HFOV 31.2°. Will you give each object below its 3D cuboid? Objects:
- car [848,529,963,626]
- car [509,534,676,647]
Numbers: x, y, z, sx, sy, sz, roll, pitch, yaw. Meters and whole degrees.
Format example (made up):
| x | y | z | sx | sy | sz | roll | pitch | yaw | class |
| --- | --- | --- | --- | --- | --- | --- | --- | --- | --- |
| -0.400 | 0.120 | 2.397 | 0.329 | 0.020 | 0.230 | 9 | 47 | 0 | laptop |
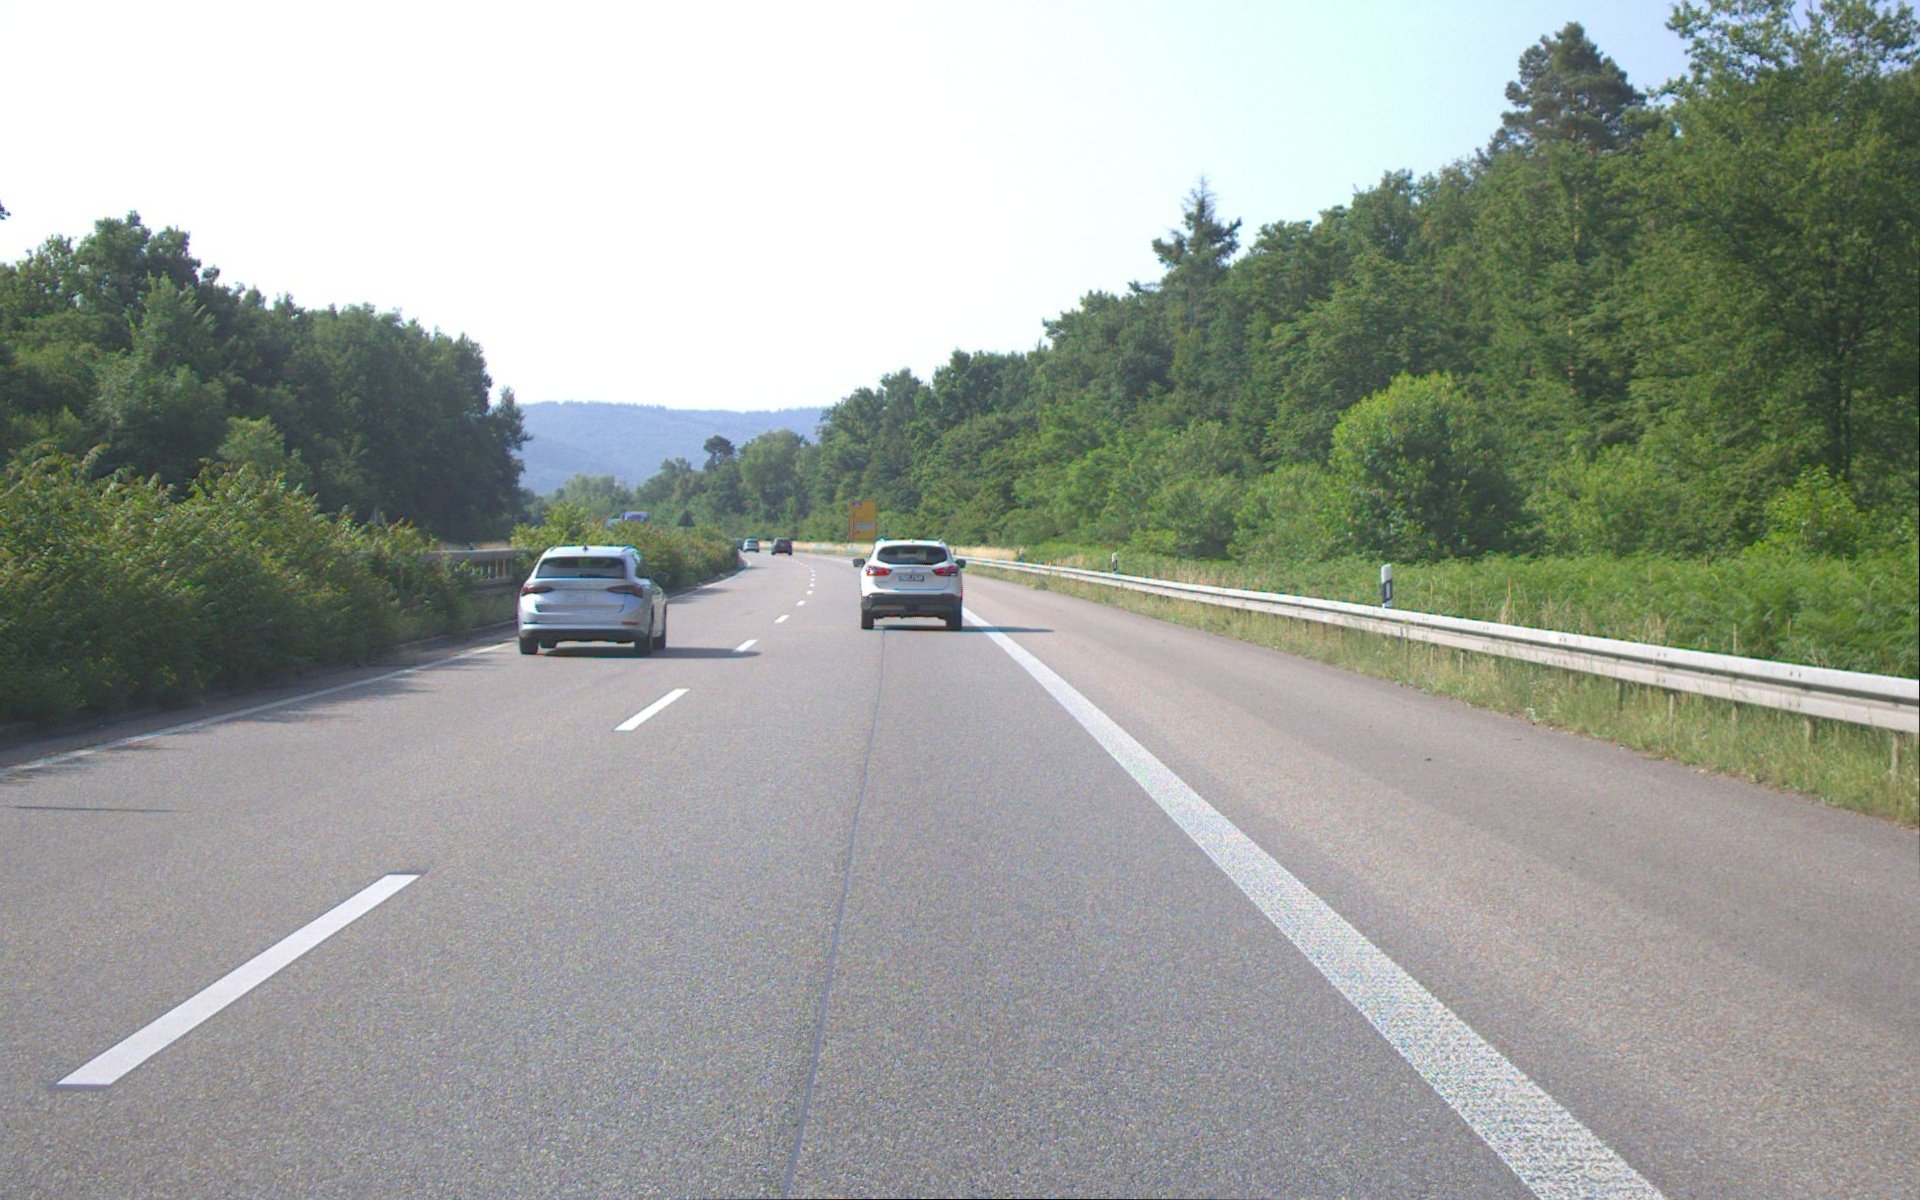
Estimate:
| x | y | z | sx | sy | sz | roll | pitch | yaw | class |
| --- | --- | --- | --- | --- | --- | --- | --- | --- | --- |
| -1.003 | -0.426 | 61.482 | 1.873 | 1.580 | 4.001 | 2 | 2 | -3 | car |
| -4.993 | -0.171 | 47.336 | 1.792 | 1.433 | 5.279 | 0 | 1 | -1 | car |
